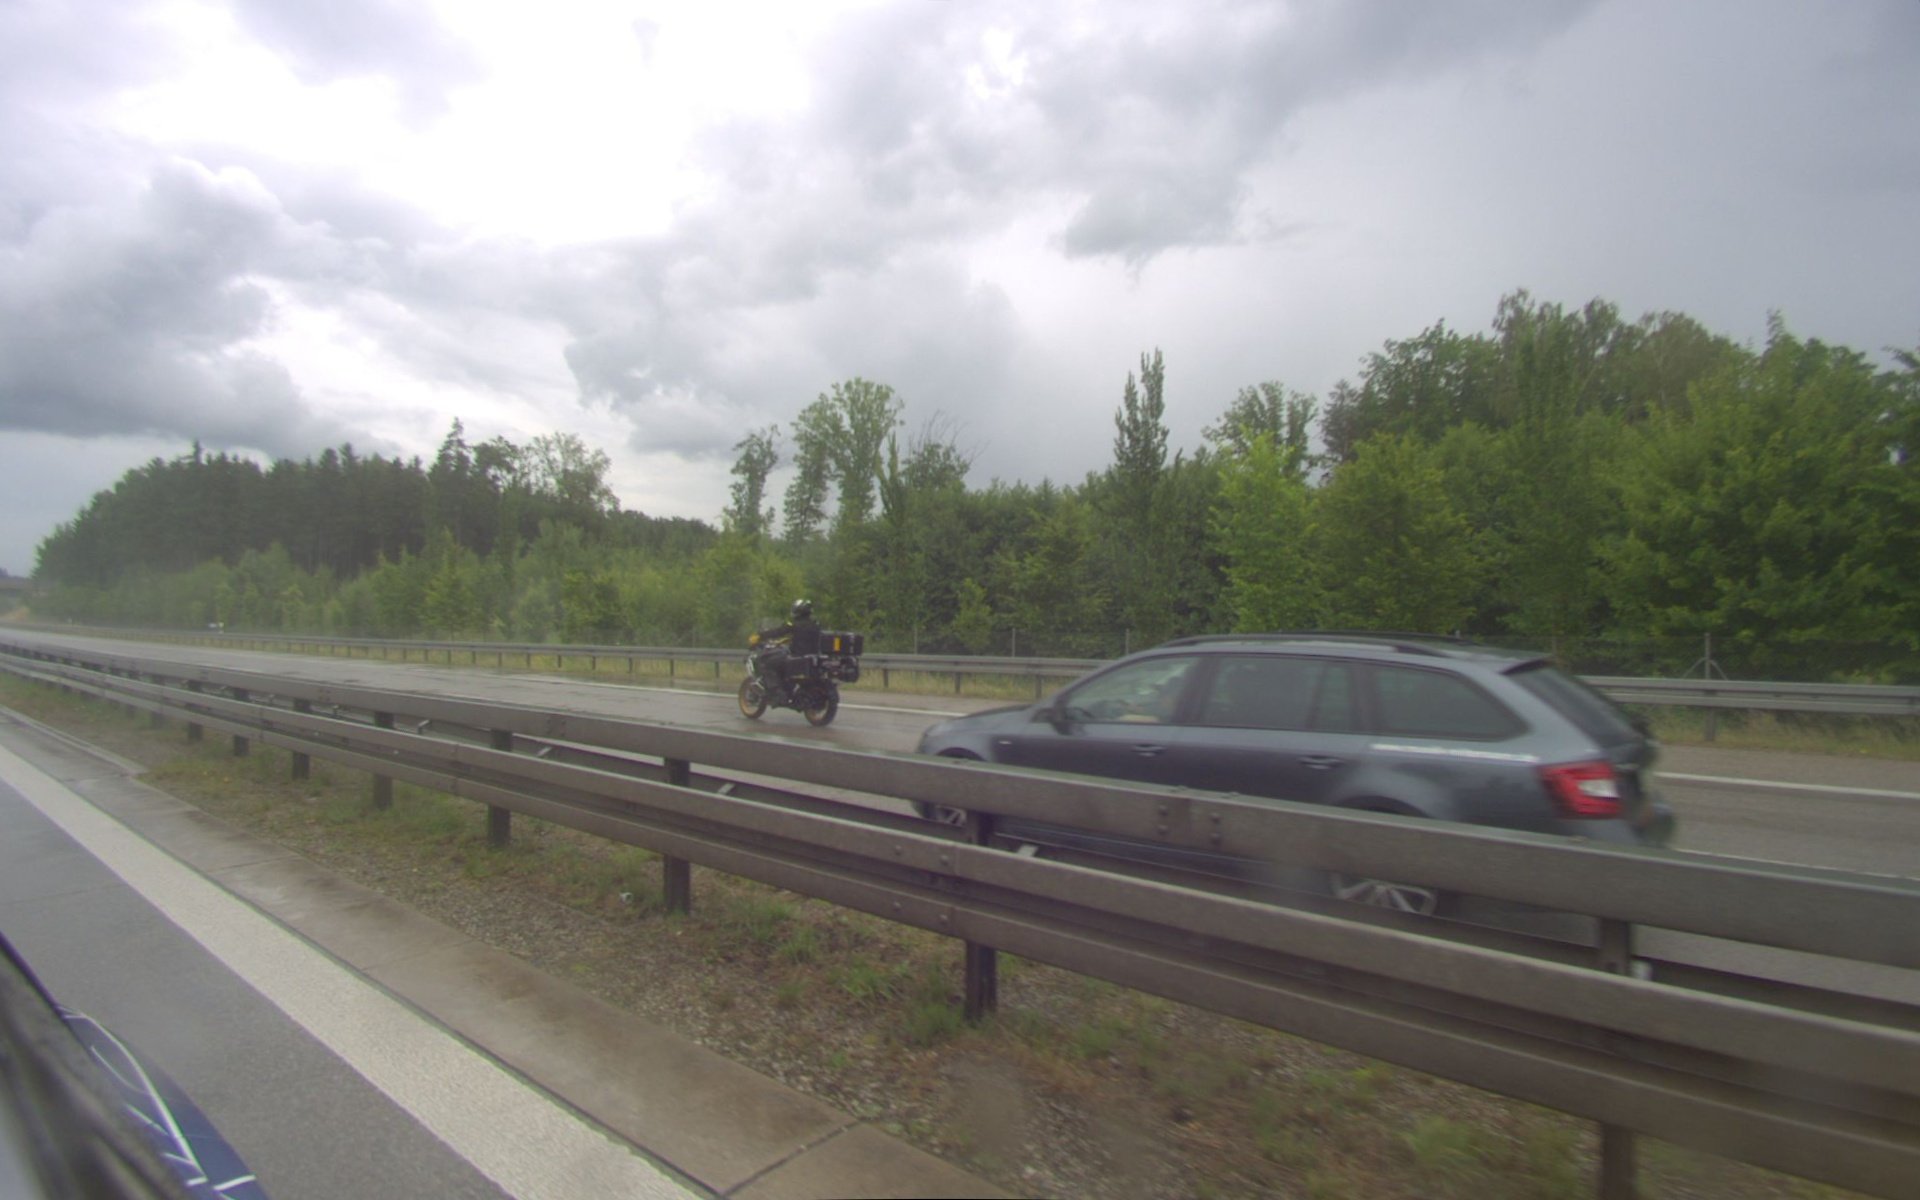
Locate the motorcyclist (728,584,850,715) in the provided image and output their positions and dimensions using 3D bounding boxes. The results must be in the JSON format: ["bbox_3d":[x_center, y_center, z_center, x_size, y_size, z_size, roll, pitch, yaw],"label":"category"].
[{"bbox_3d":[-2.465,0.683,14.545,1.444,1.770,1.056,-1,-1,41],"label":"motorcyclist"}]

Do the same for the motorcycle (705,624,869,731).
[{"bbox_3d":[-2.526,1.055,14.600,2.412,1.399,1.062,-1,-1,41],"label":"motorcycle"}]

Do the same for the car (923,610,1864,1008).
[{"bbox_3d":[2.061,0.799,5.823,4.603,1.429,1.749,-1,-2,41],"label":"car"}]
